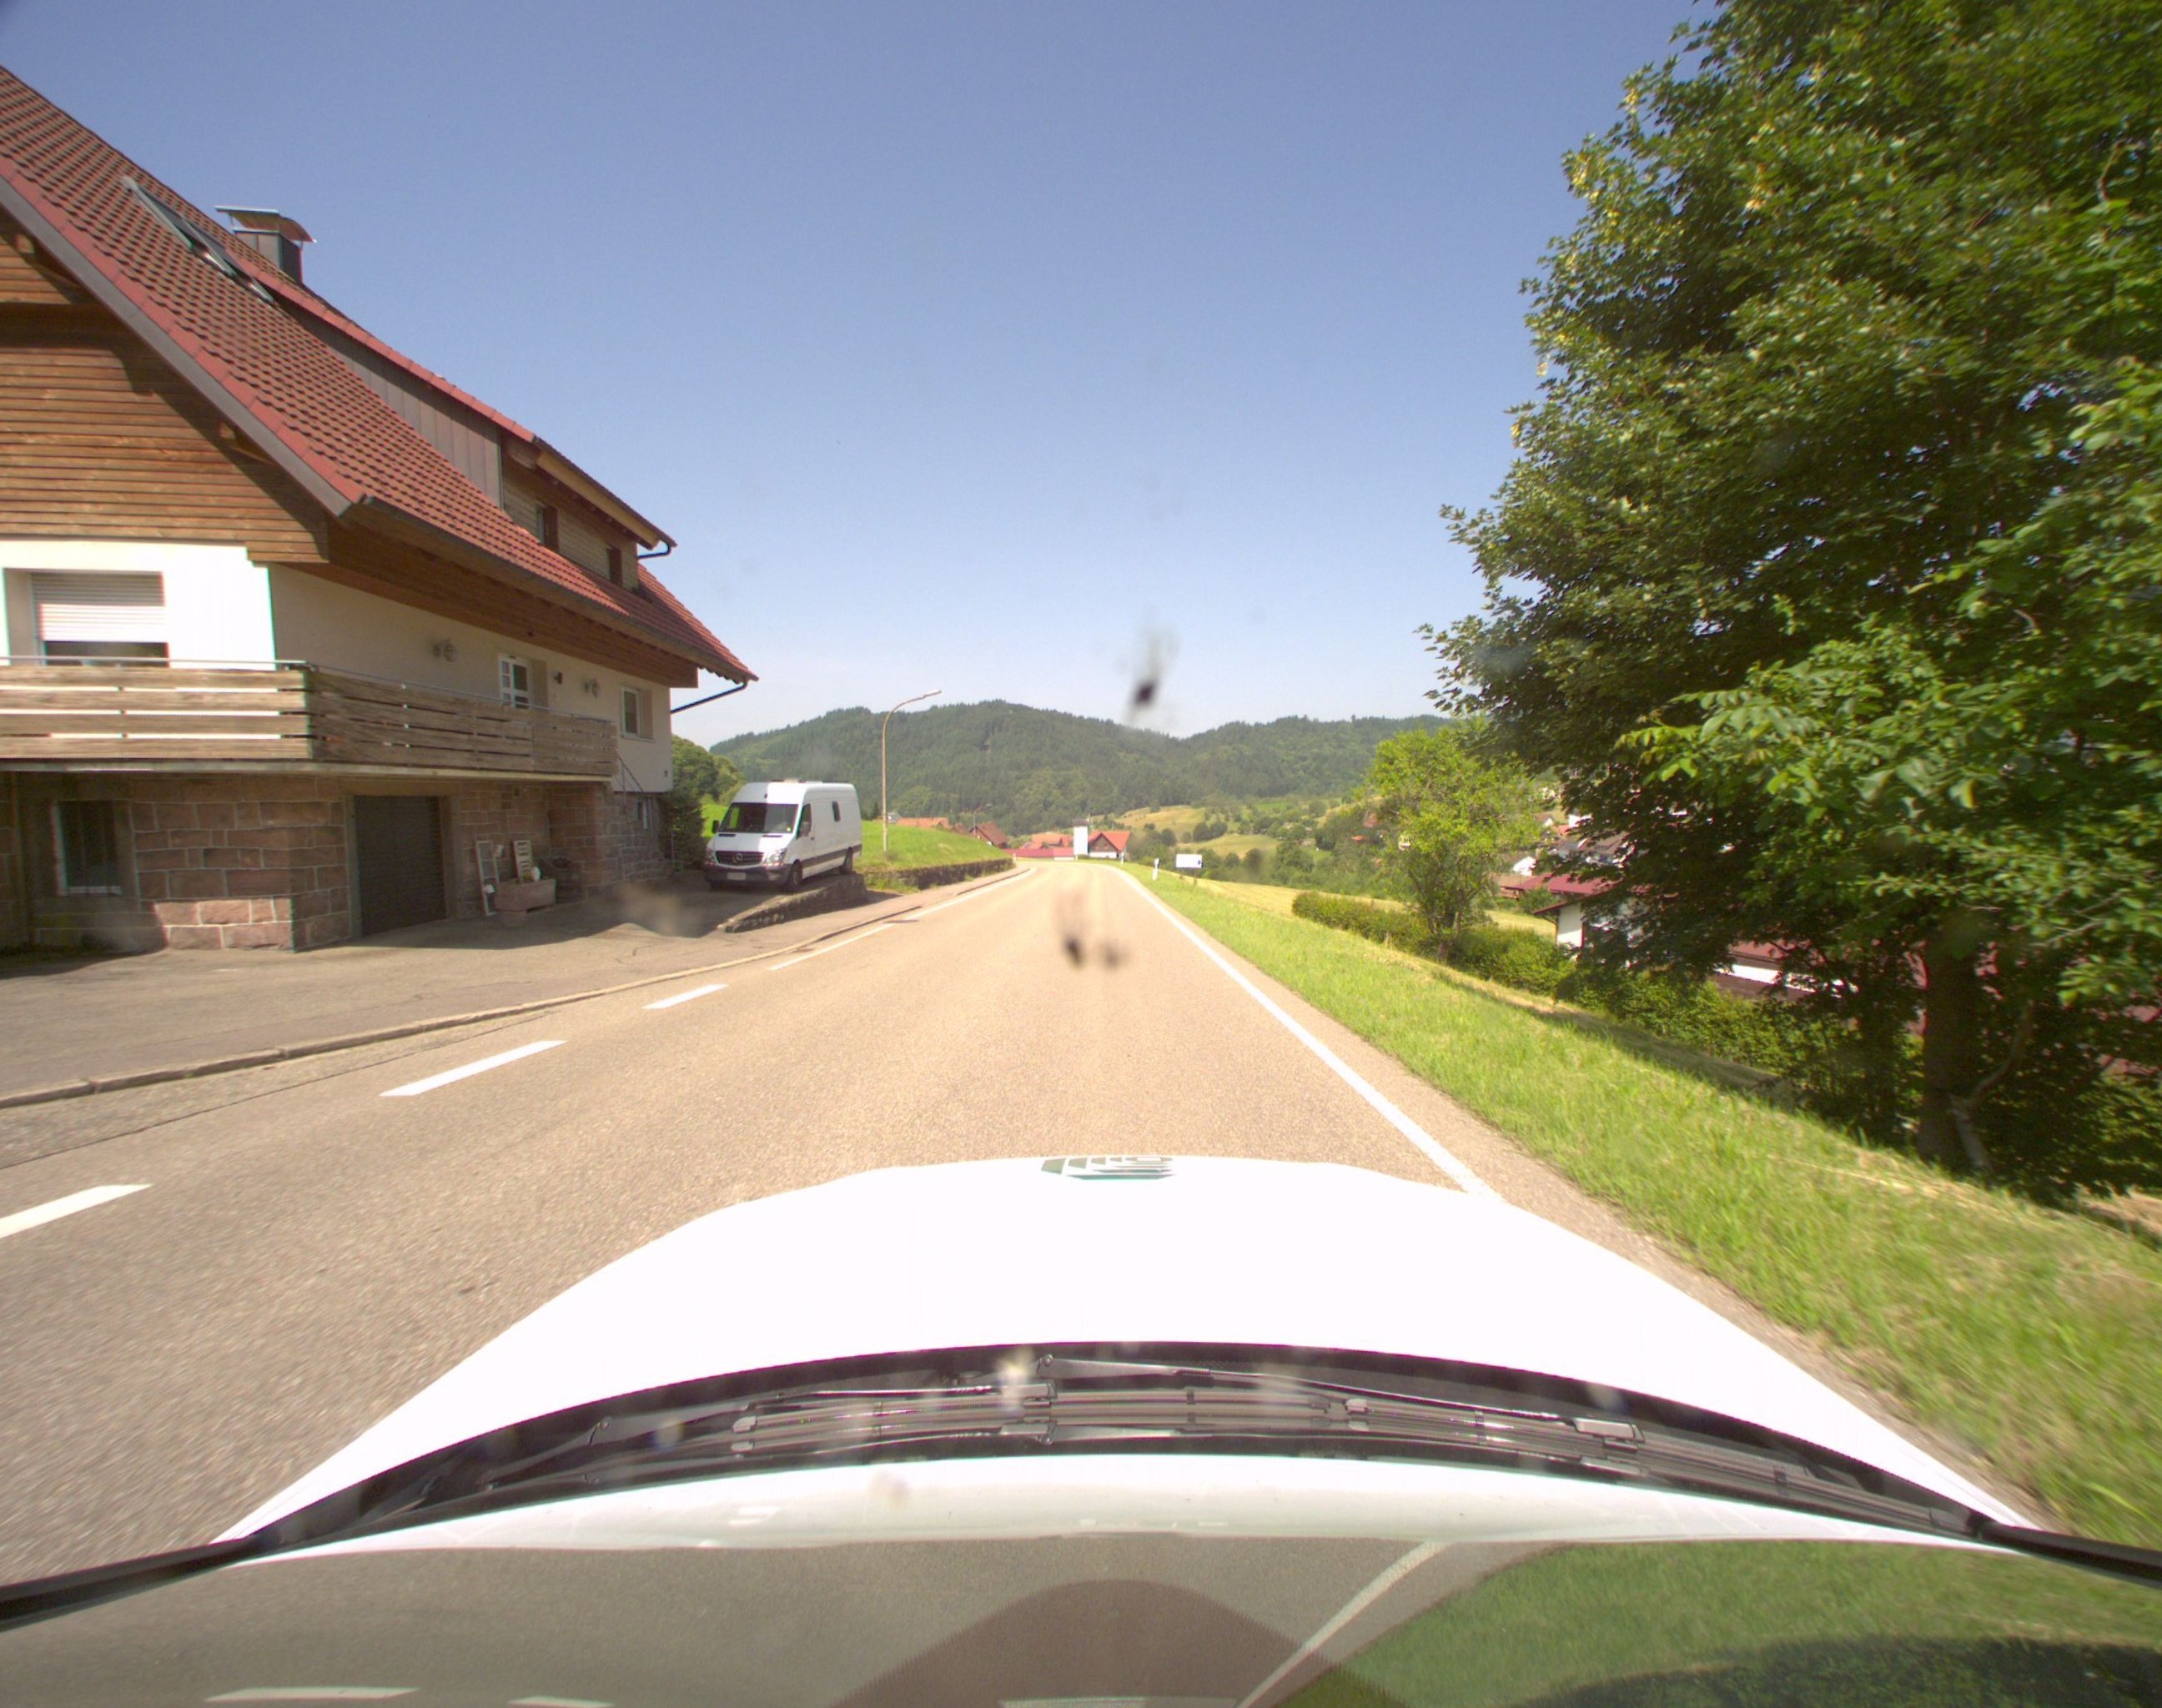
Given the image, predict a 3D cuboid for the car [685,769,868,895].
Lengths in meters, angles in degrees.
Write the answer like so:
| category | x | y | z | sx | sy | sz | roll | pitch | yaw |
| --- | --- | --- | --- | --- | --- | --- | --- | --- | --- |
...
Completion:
| category | x | y | z | sx | sy | sz | roll | pitch | yaw |
| --- | --- | --- | --- | --- | --- | --- | --- | --- | --- |
| car | -7.595 | -0.701 | 21.374 | 2.061 | 2.687 | 7.176 | 2 | 3 | 0 |
